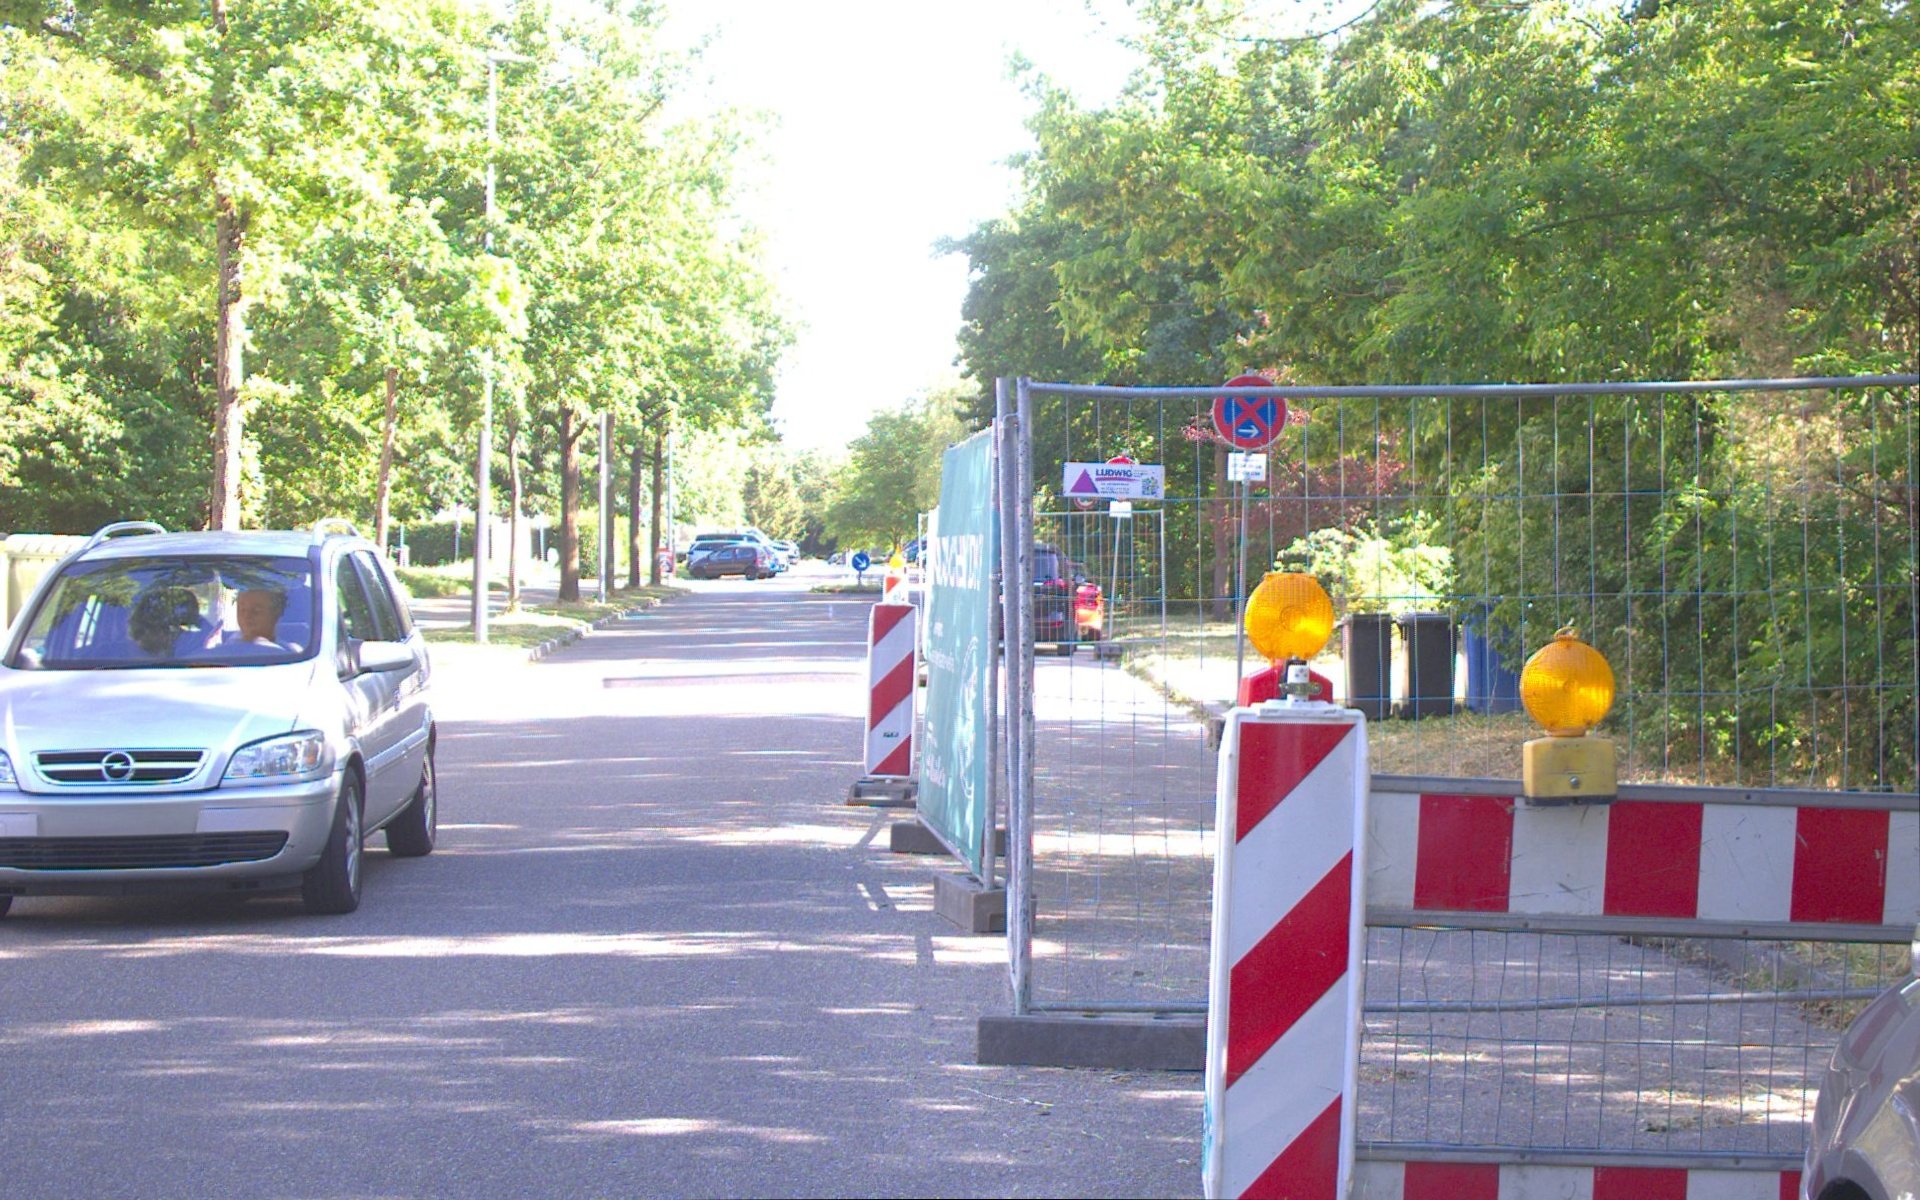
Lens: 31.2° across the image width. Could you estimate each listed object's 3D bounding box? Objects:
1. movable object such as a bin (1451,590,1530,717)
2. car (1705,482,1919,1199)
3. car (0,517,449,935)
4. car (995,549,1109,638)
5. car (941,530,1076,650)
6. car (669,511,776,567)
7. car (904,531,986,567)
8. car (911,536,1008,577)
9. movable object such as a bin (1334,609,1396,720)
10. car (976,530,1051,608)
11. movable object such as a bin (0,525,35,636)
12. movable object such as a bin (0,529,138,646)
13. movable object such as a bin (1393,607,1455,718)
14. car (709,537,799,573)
[{"bbox_3d":[4.258,0.424,27.606,0.519,0.996,0.608,-1,0,-1],"label":"movable object such as a bin"},{"bbox_3d":[2.029,0.708,3.060,1.678,1.616,4.138,1,1,-2],"label":"car"},{"bbox_3d":[-3.387,0.466,15.475,1.659,1.590,4.009,-2,1,-2],"label":"car"},{"bbox_3d":[1.529,-0.136,58.232,1.661,1.371,4.155,2,1,-2],"label":"car"},{"bbox_3d":[0.769,-0.179,51.527,1.810,1.645,4.420,2,1,3],"label":"car"},{"bbox_3d":[-11.947,-3.062,172.950,5.199,2.612,2.294,2,1,-6],"label":"car"},{"bbox_3d":[-0.730,-2.504,168.780,3.839,1.571,1.688,2,1,6],"label":"car"},{"bbox_3d":[-0.025,-1.818,143.357,3.839,1.571,1.688,2,1,6],"label":"car"},{"bbox_3d":[3.249,0.511,27.606,0.413,0.867,0.484,-1,0,-1],"label":"movable object such as a bin"},{"bbox_3d":[1.263,-0.759,82.795,1.623,1.767,3.669,2,1,-1],"label":"car"},{"bbox_3d":[-12.777,-0.261,44.580,1.141,1.430,1.273,-1,1,-35],"label":"movable object such as a bin"},{"bbox_3d":[-11.124,-0.168,42.893,1.270,1.430,1.181,0,1,15],"label":"movable object such as a bin"},{"bbox_3d":[3.739,0.499,27.702,0.413,0.867,0.484,-1,0,-1],"label":"movable object such as a bin"},{"bbox_3d":[-9.798,-2.141,164.046,4.107,1.571,1.958,2,1,1],"label":"car"}]
